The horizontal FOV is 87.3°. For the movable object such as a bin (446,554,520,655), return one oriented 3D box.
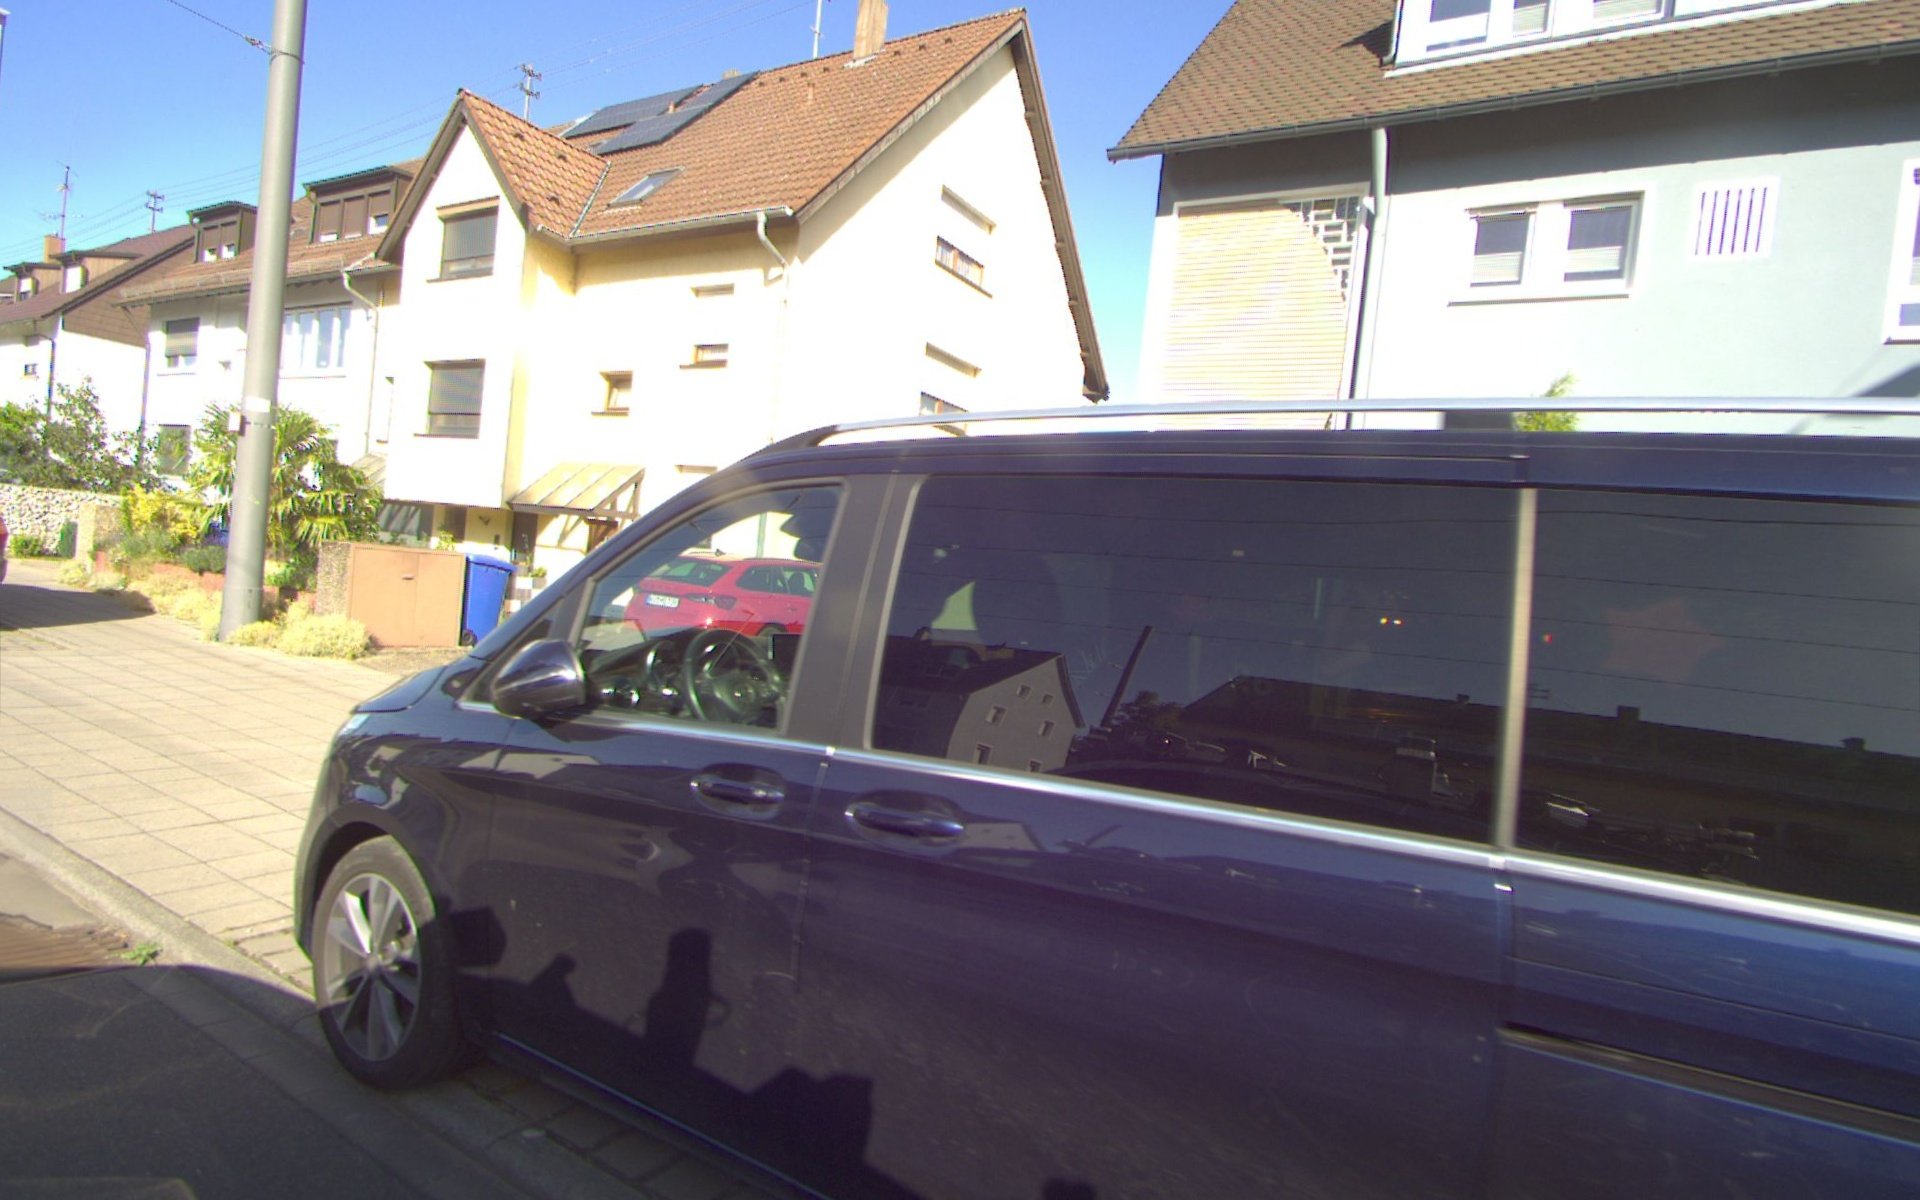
[{"bbox_3d":[-5.583,0.054,11.787,0.312,1.129,0.668,7,4,32],"label":"movable object such as a bin"}]

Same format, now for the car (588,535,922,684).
[{"bbox_3d":[-2.488,0.161,13.244,1.868,1.487,4.167,8,2,31],"label":"car"}]

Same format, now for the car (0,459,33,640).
[{"bbox_3d":[-11.151,-0.722,9.884,4.399,1.681,1.855,7,2,32],"label":"car"}]

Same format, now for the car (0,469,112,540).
[{"bbox_3d":[-23.515,-2.448,24.204,4.789,1.464,1.999,6,2,7],"label":"car"}]

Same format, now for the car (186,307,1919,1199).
[{"bbox_3d":[0.208,0.522,2.677,4.845,1.860,1.962,7,2,32],"label":"car"}]
